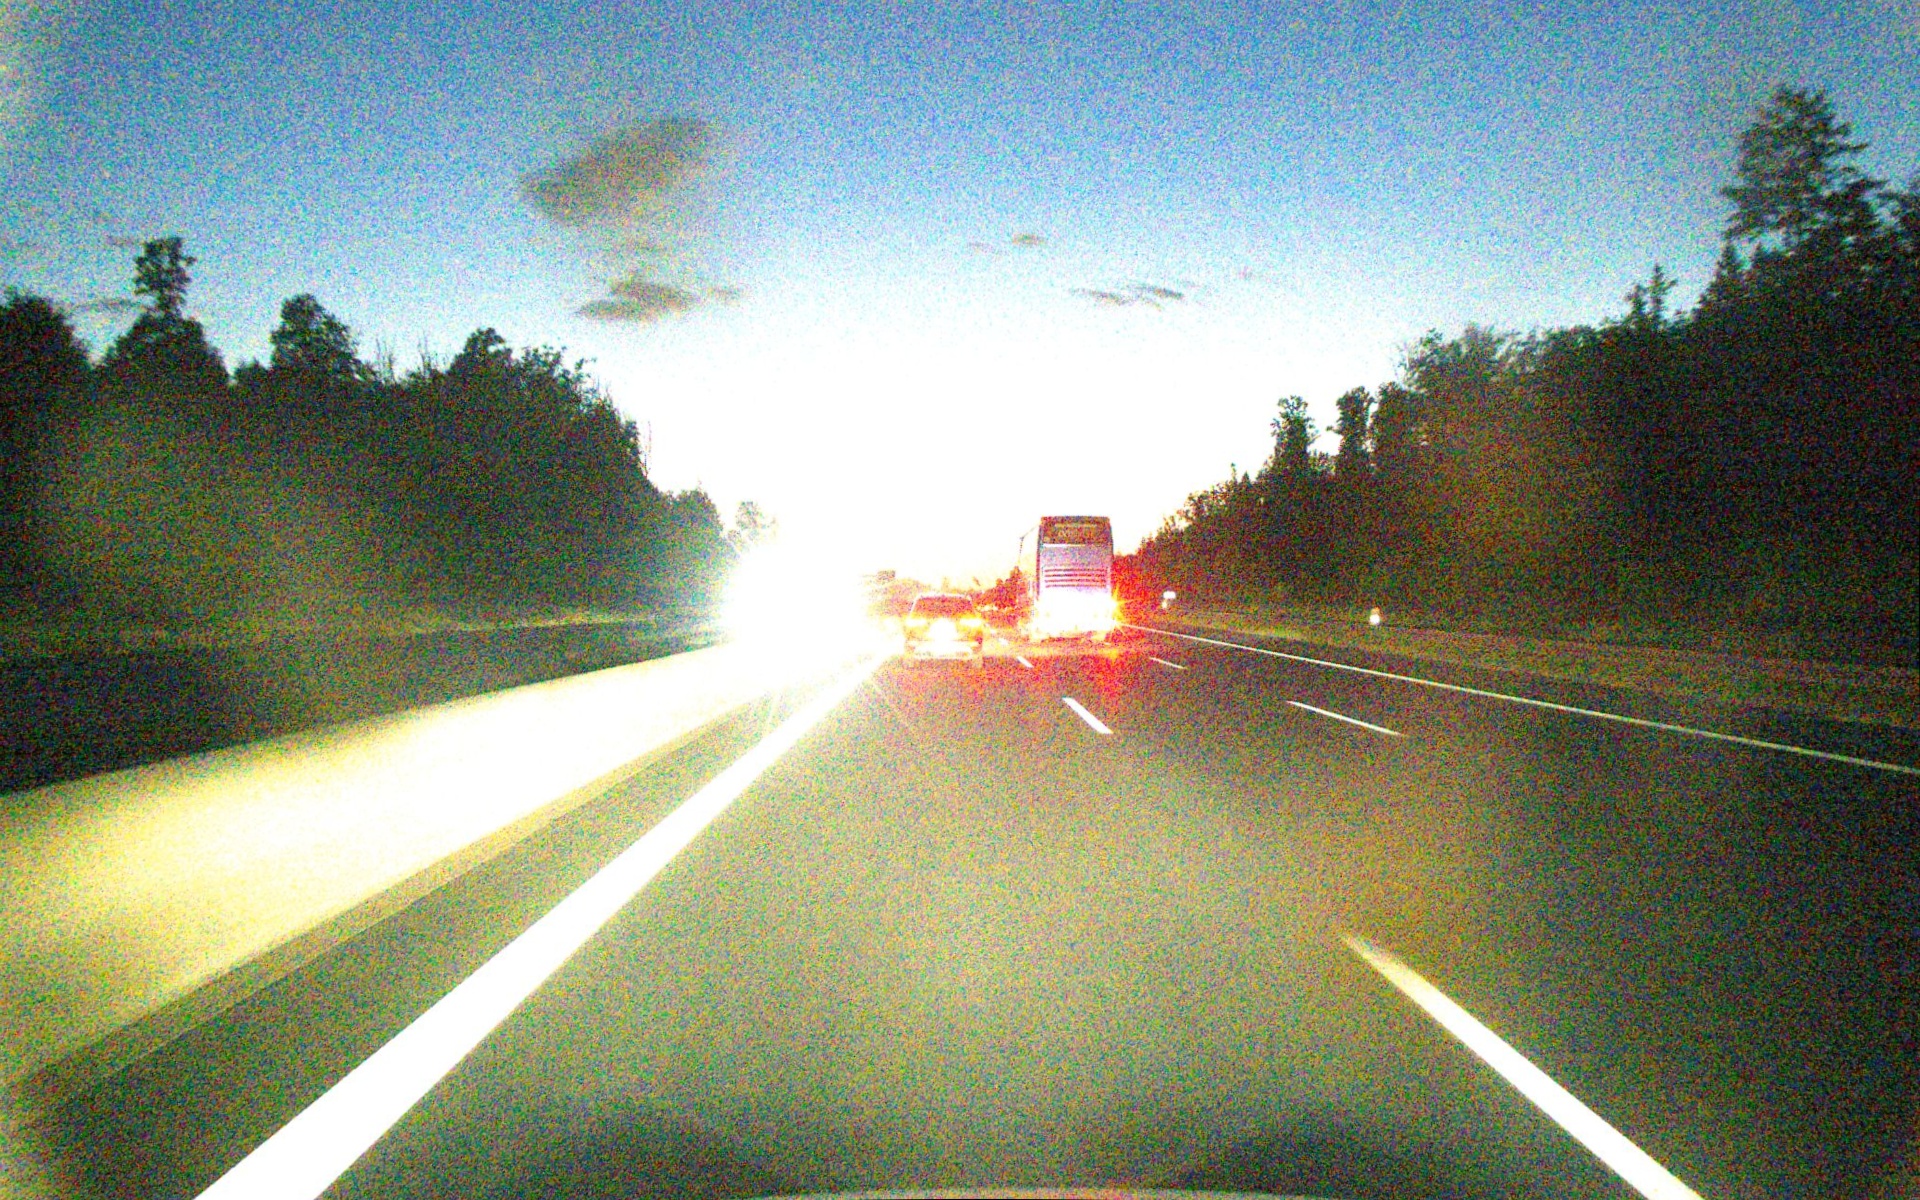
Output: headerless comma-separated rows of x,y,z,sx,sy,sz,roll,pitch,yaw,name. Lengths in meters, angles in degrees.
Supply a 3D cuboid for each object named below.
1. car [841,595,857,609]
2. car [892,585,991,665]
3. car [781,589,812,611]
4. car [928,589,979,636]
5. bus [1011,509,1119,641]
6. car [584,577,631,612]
-15.445,0.267,230.297,1.952,1.807,5.169,1,0,-1,car
-0.454,0.562,37.164,2.063,1.646,4.202,-1,-1,-2,car
-12.213,-0.035,123.839,1.894,1.589,4.452,1,0,-1,car
-0.286,0.504,65.828,1.872,1.760,3.998,-2,-1,-2,car
3.531,-0.696,59.155,2.598,4.064,14.697,-1,-1,-1,bus
-20.932,-0.288,98.384,1.953,1.959,3.999,-2,0,-1,car
